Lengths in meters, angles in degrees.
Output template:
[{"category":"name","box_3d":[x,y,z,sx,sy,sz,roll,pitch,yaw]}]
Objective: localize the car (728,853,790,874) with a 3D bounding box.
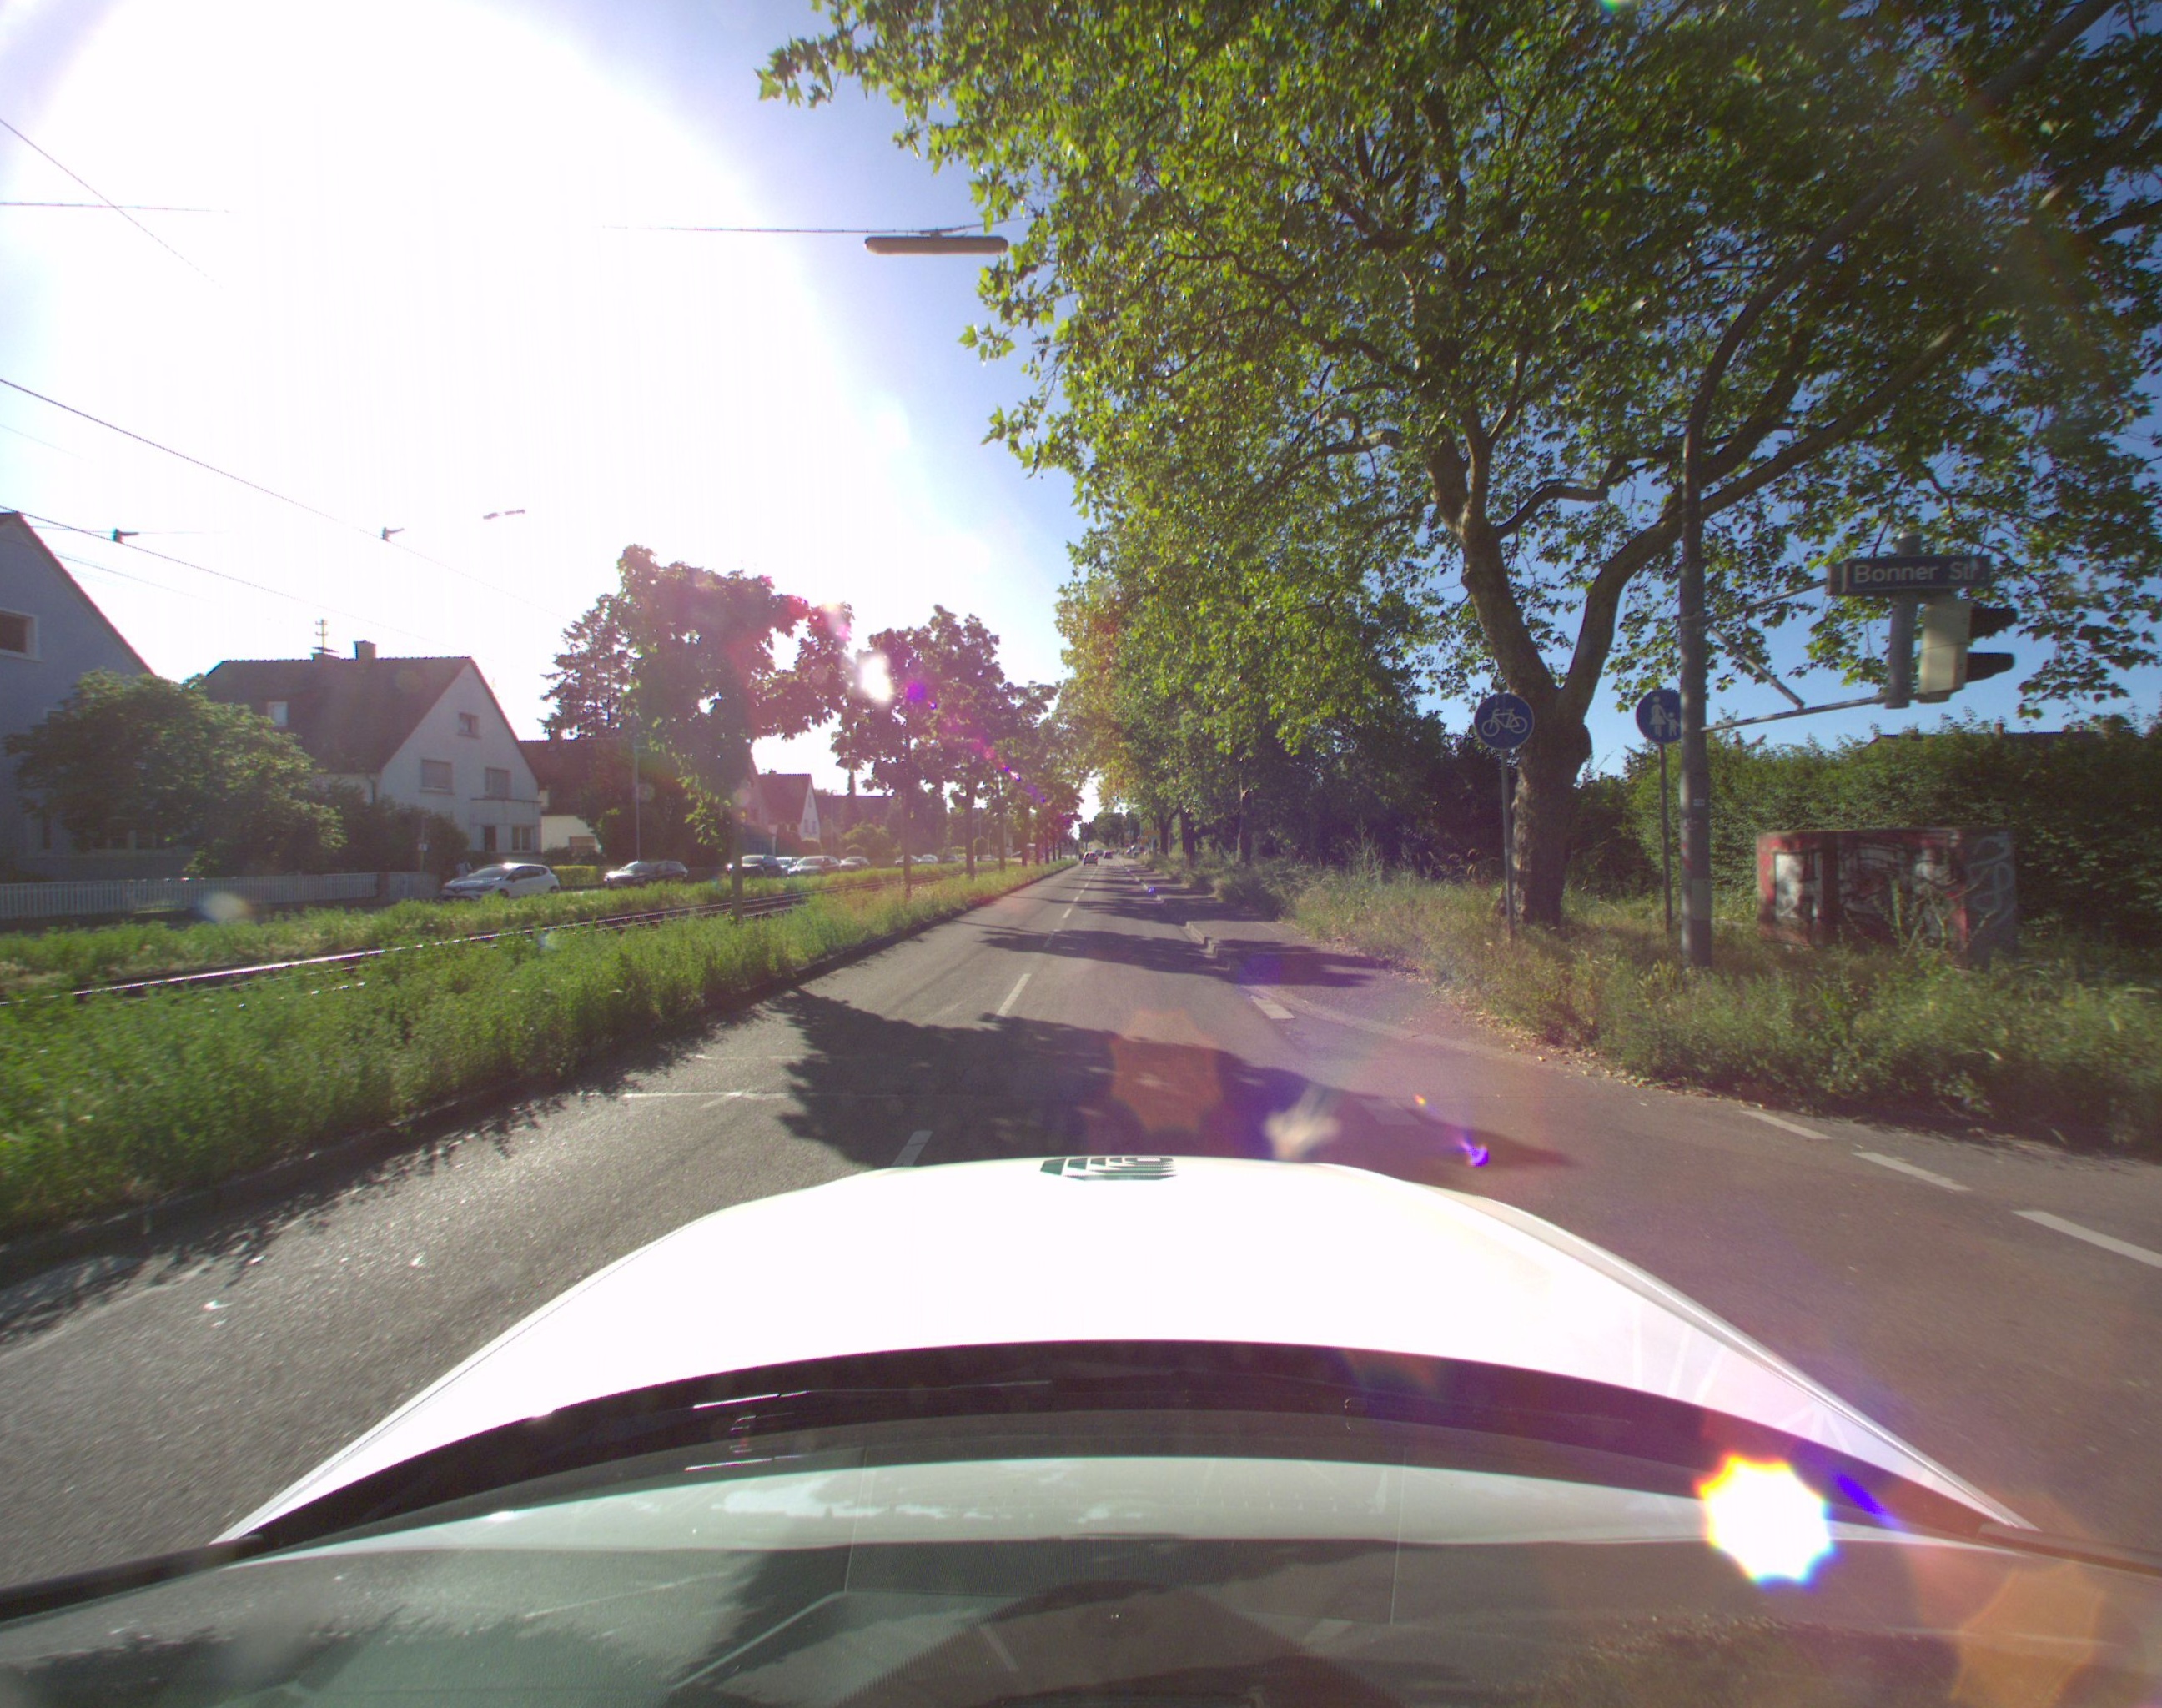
[{"category":"car","box_3d":[-24.599,0.725,62.326,3.904,1.452,1.889,1,1,1]}]

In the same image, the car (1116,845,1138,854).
[{"category":"car","box_3d":[11.429,-1.087,203.889,5.169,2.275,1.986,1,0,-23]}]

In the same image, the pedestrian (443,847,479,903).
[{"category":"pedestrian","box_3d":[-22.572,0.758,29.642,0.678,2.013,0.772,0,0,1]}]

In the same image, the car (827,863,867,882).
[{"category":"car","box_3d":[-18.638,1.459,64.954,1.853,1.369,4.229,0,0,1]}]

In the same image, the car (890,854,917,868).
[{"category":"car","box_3d":[-18.681,0.708,85.958,1.853,1.413,4.160,0,0,1]}]

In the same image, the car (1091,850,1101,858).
[{"category":"car","box_3d":[3.231,0.064,171.053,1.986,1.603,4.475,0,0,1]}]

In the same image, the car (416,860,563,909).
[{"category":"car","box_3d":[-20.149,0.983,27.997,1.853,1.542,4.229,0,0,1]}]

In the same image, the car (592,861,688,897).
[{"category":"car","box_3d":[-19.842,1.079,36.922,1.723,1.466,4.604,0,0,2]}]

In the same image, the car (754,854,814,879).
[{"category":"car","box_3d":[-19.422,0.763,53.512,1.986,1.545,4.783,0,0,2]}]

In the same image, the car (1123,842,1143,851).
[{"category":"car","box_3d":[13.793,-1.956,214.348,5.282,2.354,1.846,1,0,-35]}]

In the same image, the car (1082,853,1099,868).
[{"category":"car","box_3d":[1.060,0.719,92.729,1.853,1.601,4.229,0,0,1]}]

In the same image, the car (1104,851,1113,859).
[{"category":"car","box_3d":[5.519,0.181,165.638,1.785,1.559,4.229,0,0,1]}]

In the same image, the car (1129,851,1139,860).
[{"category":"car","box_3d":[10.509,0.300,161.608,1.986,1.603,4.475,0,0,1]}]

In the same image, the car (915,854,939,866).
[{"category":"car","box_3d":[-18.047,0.702,95.780,1.853,1.431,4.463,0,0,1]}]

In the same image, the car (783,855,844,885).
[{"category":"car","box_3d":[-14.573,0.831,44.637,1.654,1.552,4.812,0,0,2]}]

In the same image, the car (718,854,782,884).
[{"category":"car","box_3d":[-19.299,0.825,47.664,1.741,1.650,4.557,0,0,2]}]

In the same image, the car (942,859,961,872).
[{"category":"car","box_3d":[-17.617,1.491,110.956,1.771,1.707,4.229,0,0,1]}]
